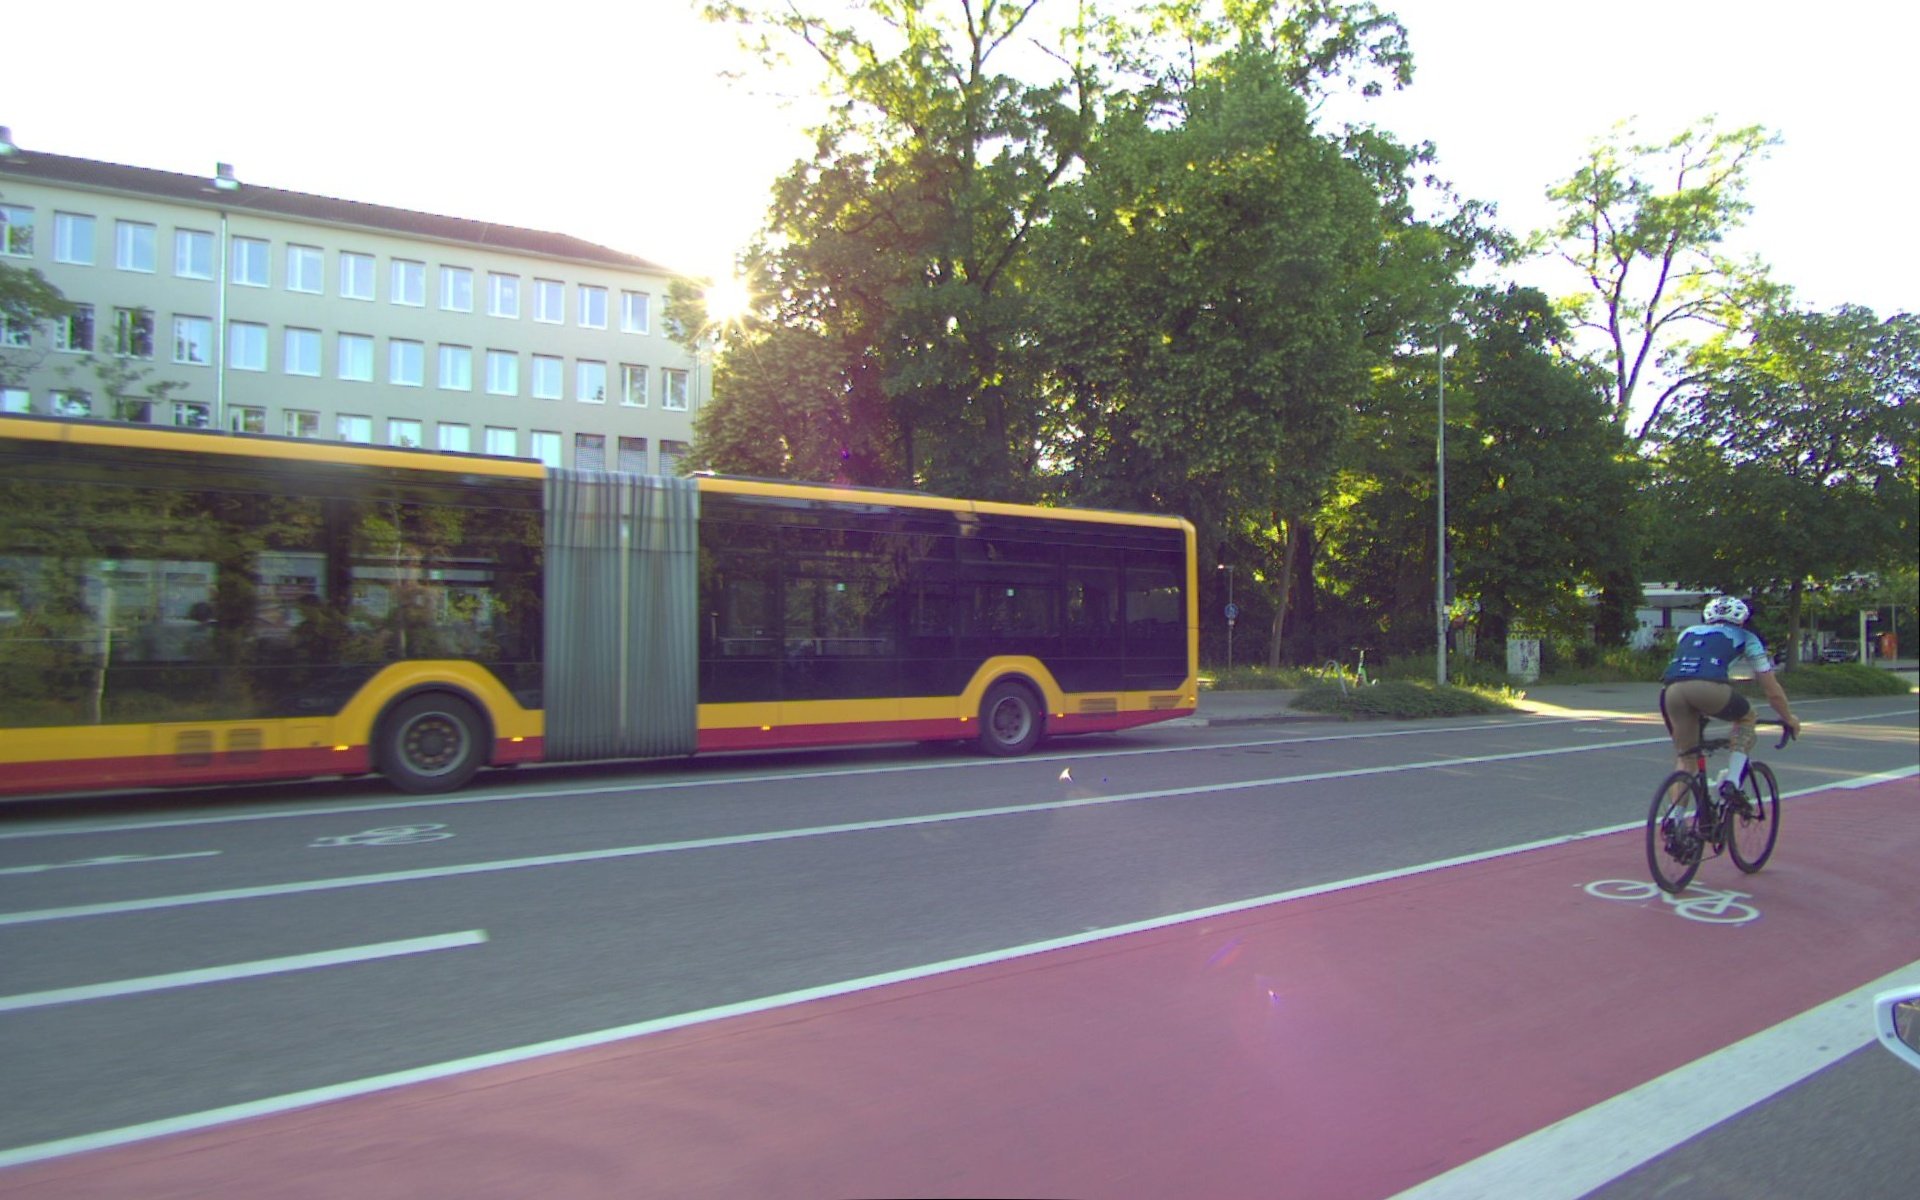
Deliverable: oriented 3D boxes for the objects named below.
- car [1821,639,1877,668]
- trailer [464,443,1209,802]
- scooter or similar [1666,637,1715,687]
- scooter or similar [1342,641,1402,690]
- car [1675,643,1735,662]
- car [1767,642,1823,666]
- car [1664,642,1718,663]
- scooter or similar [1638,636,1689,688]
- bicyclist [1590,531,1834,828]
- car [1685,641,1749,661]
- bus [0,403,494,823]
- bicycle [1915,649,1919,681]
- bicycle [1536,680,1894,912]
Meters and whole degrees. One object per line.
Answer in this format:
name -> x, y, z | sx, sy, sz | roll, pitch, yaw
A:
car -> 54.363, 3.270, 61.400 | 4.412, 1.713, 1.698 | 2, -3, -37
trailer -> -1.190, 0.340, 13.116 | 9.254, 3.400, 2.840 | 2, 0, -31
scooter or similar -> 25.919, 2.181, 35.636 | 1.721, 1.739, 0.823 | 2, -2, -32
scooter or similar -> 11.631, 1.833, 28.359 | 1.553, 1.327, 0.823 | 2, -2, -32
car -> 57.931, 4.082, 78.114 | 3.583, 1.371, 1.706 | -2, -3, 43
car -> 56.040, 3.621, 67.407 | 4.530, 1.518, 1.700 | 2, -2, -34
car -> 49.503, 3.557, 68.001 | 4.018, 1.394, 1.700 | 2, -2, -34
scooter or similar -> 24.276, 2.119, 34.641 | 1.721, 1.739, 0.823 | 2, -2, -32
bicyclist -> 4.434, 0.433, 5.952 | 0.870, 1.588, 0.856 | 1, 0, -27
car -> 63.811, 4.272, 84.681 | 1.882, 1.576, 3.958 | 2, -2, -37
bus -> -8.803, 0.115, 8.562 | 8.501, 3.238, 2.826 | 2, -2, -31
bicycle -> 39.034, 2.593, 40.362 | 2.140, 1.266, 0.649 | 2, -2, -38
bicycle -> 4.523, 1.068, 6.001 | 2.109, 1.110, 0.888 | 1, -2, -28
